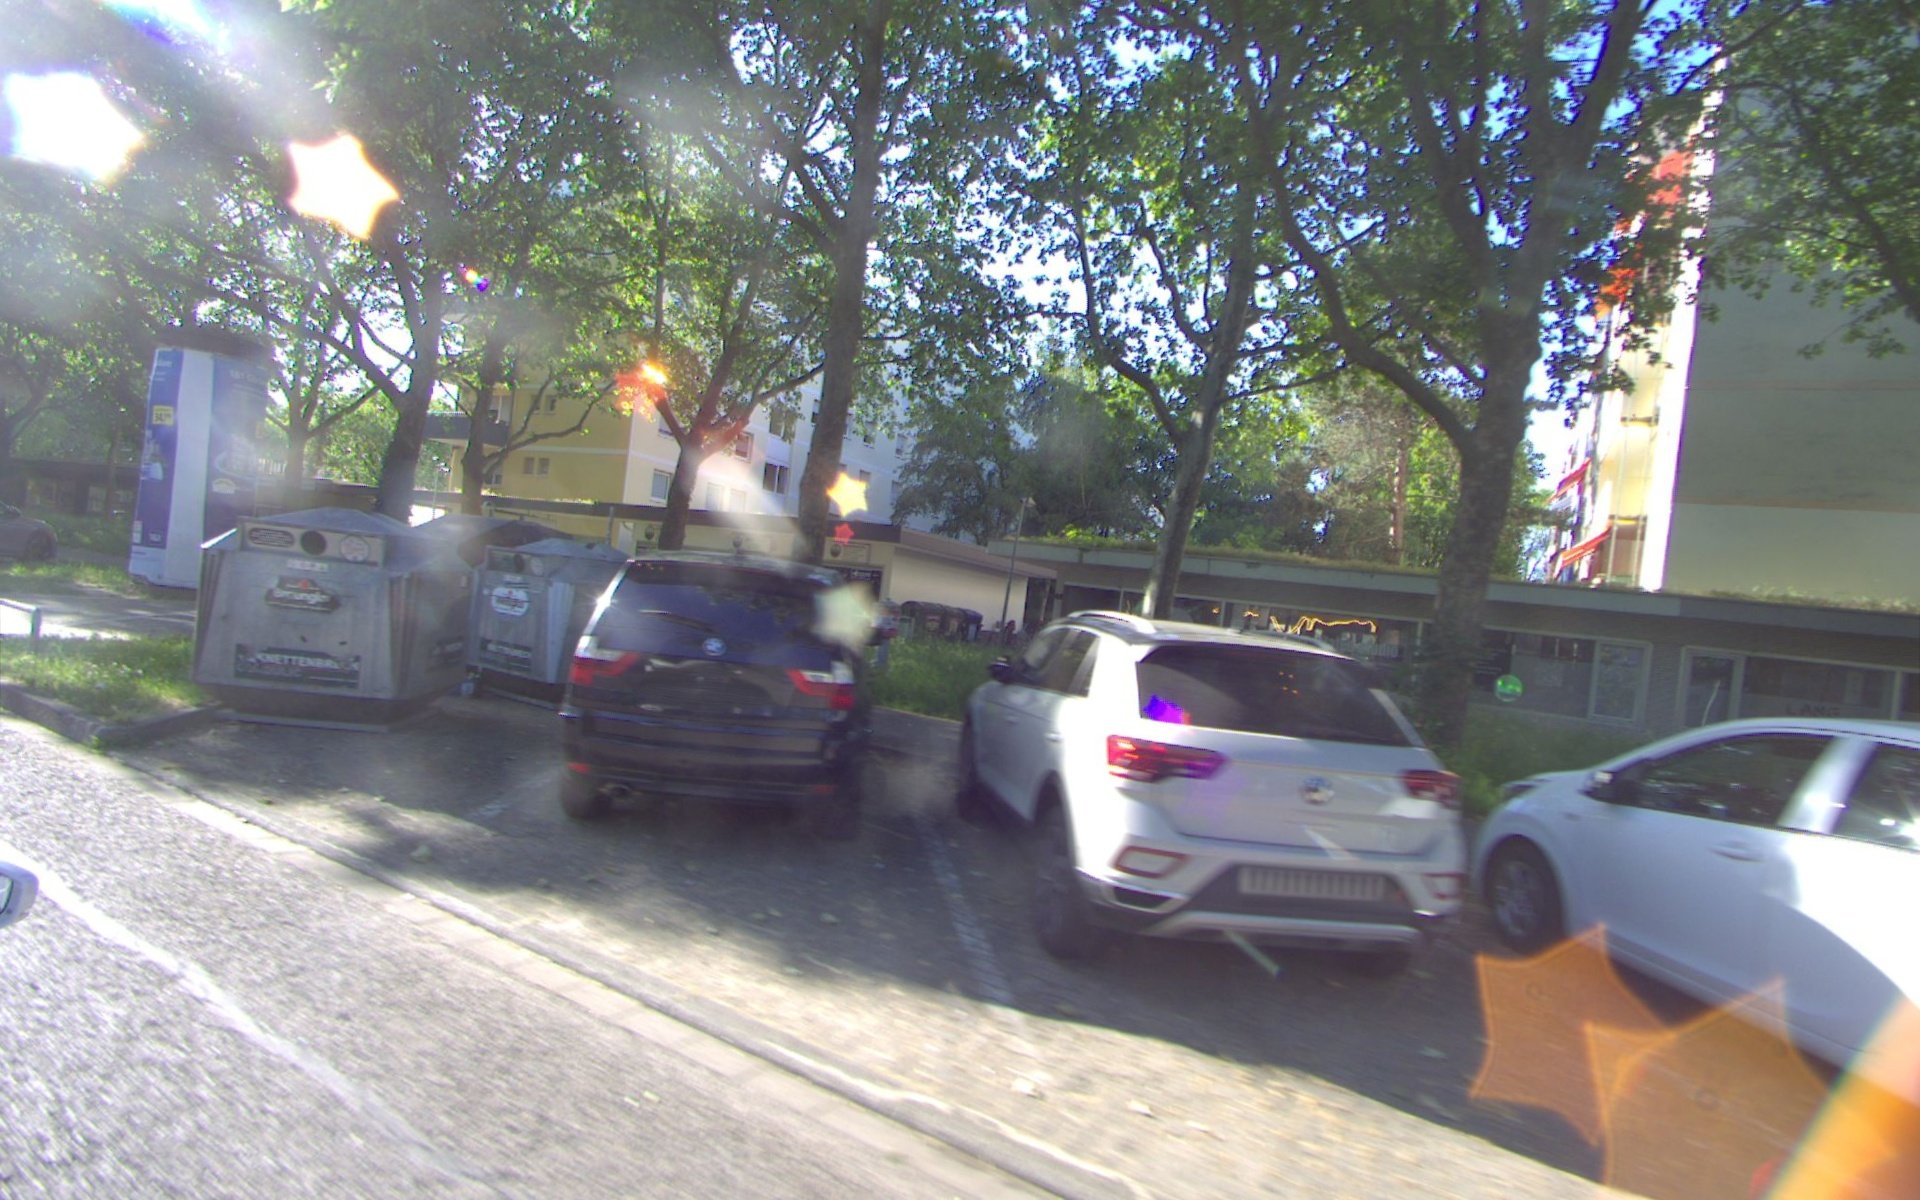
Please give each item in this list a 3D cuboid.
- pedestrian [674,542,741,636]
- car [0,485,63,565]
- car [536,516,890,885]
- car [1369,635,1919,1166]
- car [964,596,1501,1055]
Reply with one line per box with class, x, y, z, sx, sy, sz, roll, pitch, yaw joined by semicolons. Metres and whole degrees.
pedestrian;-5.540;-0.233;22.098;0.855;1.937;0.875;7;1;23
car;-18.424;-1.458;17.707;1.826;1.462;4.482;6;0;-12
car;-1.520;0.539;7.356;1.607;1.737;4.315;7;-1;-7
car;3.952;1.169;4.664;1.751;1.602;4.076;6;1;-10
car;1.071;0.883;5.951;1.749;1.602;4.082;6;0;-3
